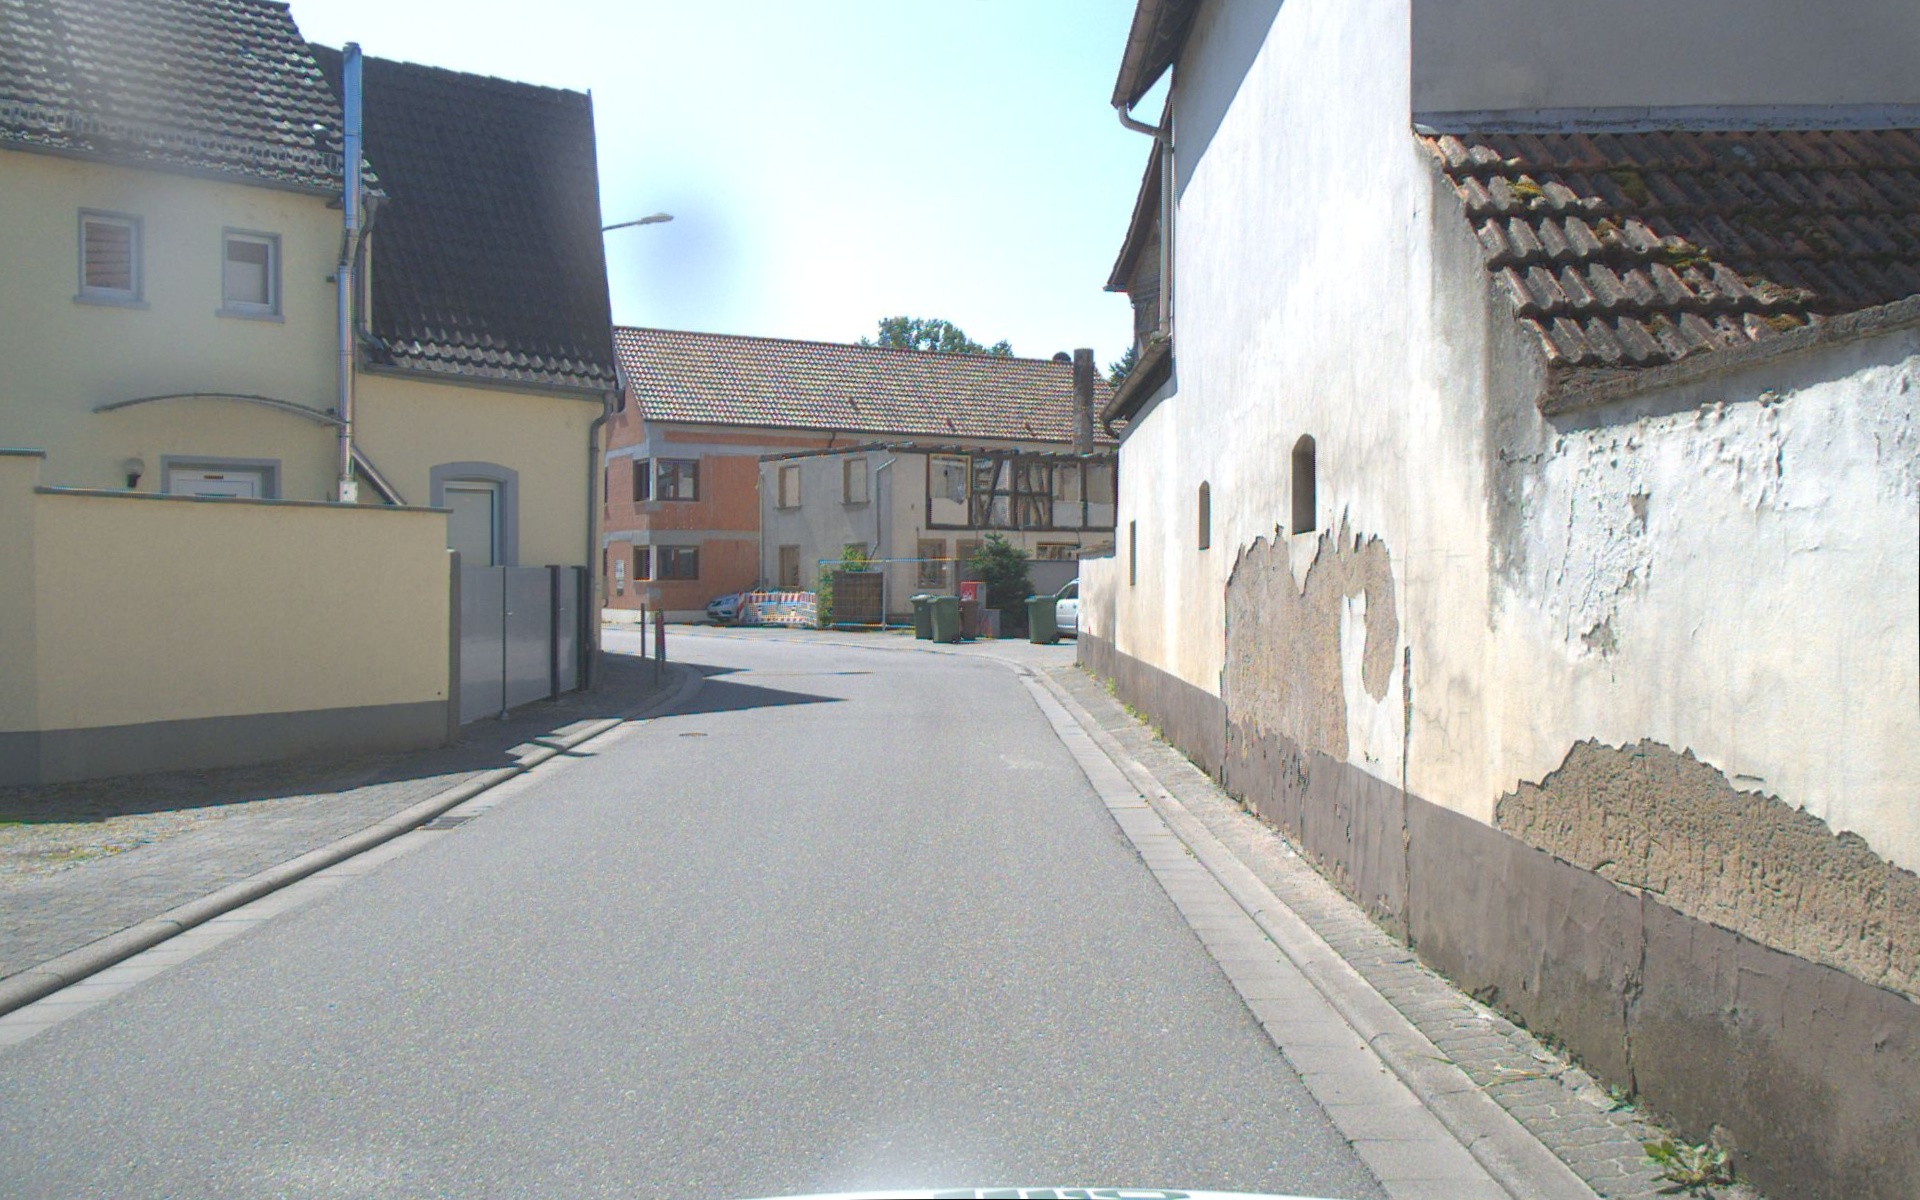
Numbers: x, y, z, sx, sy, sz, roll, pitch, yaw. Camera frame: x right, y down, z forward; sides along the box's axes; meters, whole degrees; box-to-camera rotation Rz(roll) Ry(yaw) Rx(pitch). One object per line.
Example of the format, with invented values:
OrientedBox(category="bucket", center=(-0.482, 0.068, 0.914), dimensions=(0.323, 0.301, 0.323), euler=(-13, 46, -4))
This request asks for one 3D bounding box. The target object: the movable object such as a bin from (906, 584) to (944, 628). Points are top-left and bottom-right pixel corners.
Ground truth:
OrientedBox(category="movable object such as a bin", center=(-0.880, 0.154, 41.678), dimensions=(0.657, 1.091, 0.761), euler=(0, 1, 26))

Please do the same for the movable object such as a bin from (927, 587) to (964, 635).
OrientedBox(category="movable object such as a bin", center=(-0.345, 0.260, 39.441), dimensions=(0.677, 1.111, 0.633), euler=(-1, 1, -23))

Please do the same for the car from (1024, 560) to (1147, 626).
OrientedBox(category="car", center=(3.140, -0.219, 42.172), dimensions=(1.781, 1.555, 4.279), euler=(-1, 1, -16))

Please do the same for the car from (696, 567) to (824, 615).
OrientedBox(category="car", center=(-6.938, -0.341, 57.521), dimensions=(4.058, 1.533, 1.846), euler=(-2, 2, -37))

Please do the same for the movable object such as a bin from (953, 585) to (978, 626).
OrientedBox(category="movable object such as a bin", center=(0.125, 0.139, 40.793), dimensions=(0.459, 0.987, 0.492), euler=(-1, 1, -24))

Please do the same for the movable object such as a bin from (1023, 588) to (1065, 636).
OrientedBox(category="movable object such as a bin", center=(1.953, 0.269, 38.374), dimensions=(0.711, 1.100, 0.749), euler=(-1, 1, -26))
